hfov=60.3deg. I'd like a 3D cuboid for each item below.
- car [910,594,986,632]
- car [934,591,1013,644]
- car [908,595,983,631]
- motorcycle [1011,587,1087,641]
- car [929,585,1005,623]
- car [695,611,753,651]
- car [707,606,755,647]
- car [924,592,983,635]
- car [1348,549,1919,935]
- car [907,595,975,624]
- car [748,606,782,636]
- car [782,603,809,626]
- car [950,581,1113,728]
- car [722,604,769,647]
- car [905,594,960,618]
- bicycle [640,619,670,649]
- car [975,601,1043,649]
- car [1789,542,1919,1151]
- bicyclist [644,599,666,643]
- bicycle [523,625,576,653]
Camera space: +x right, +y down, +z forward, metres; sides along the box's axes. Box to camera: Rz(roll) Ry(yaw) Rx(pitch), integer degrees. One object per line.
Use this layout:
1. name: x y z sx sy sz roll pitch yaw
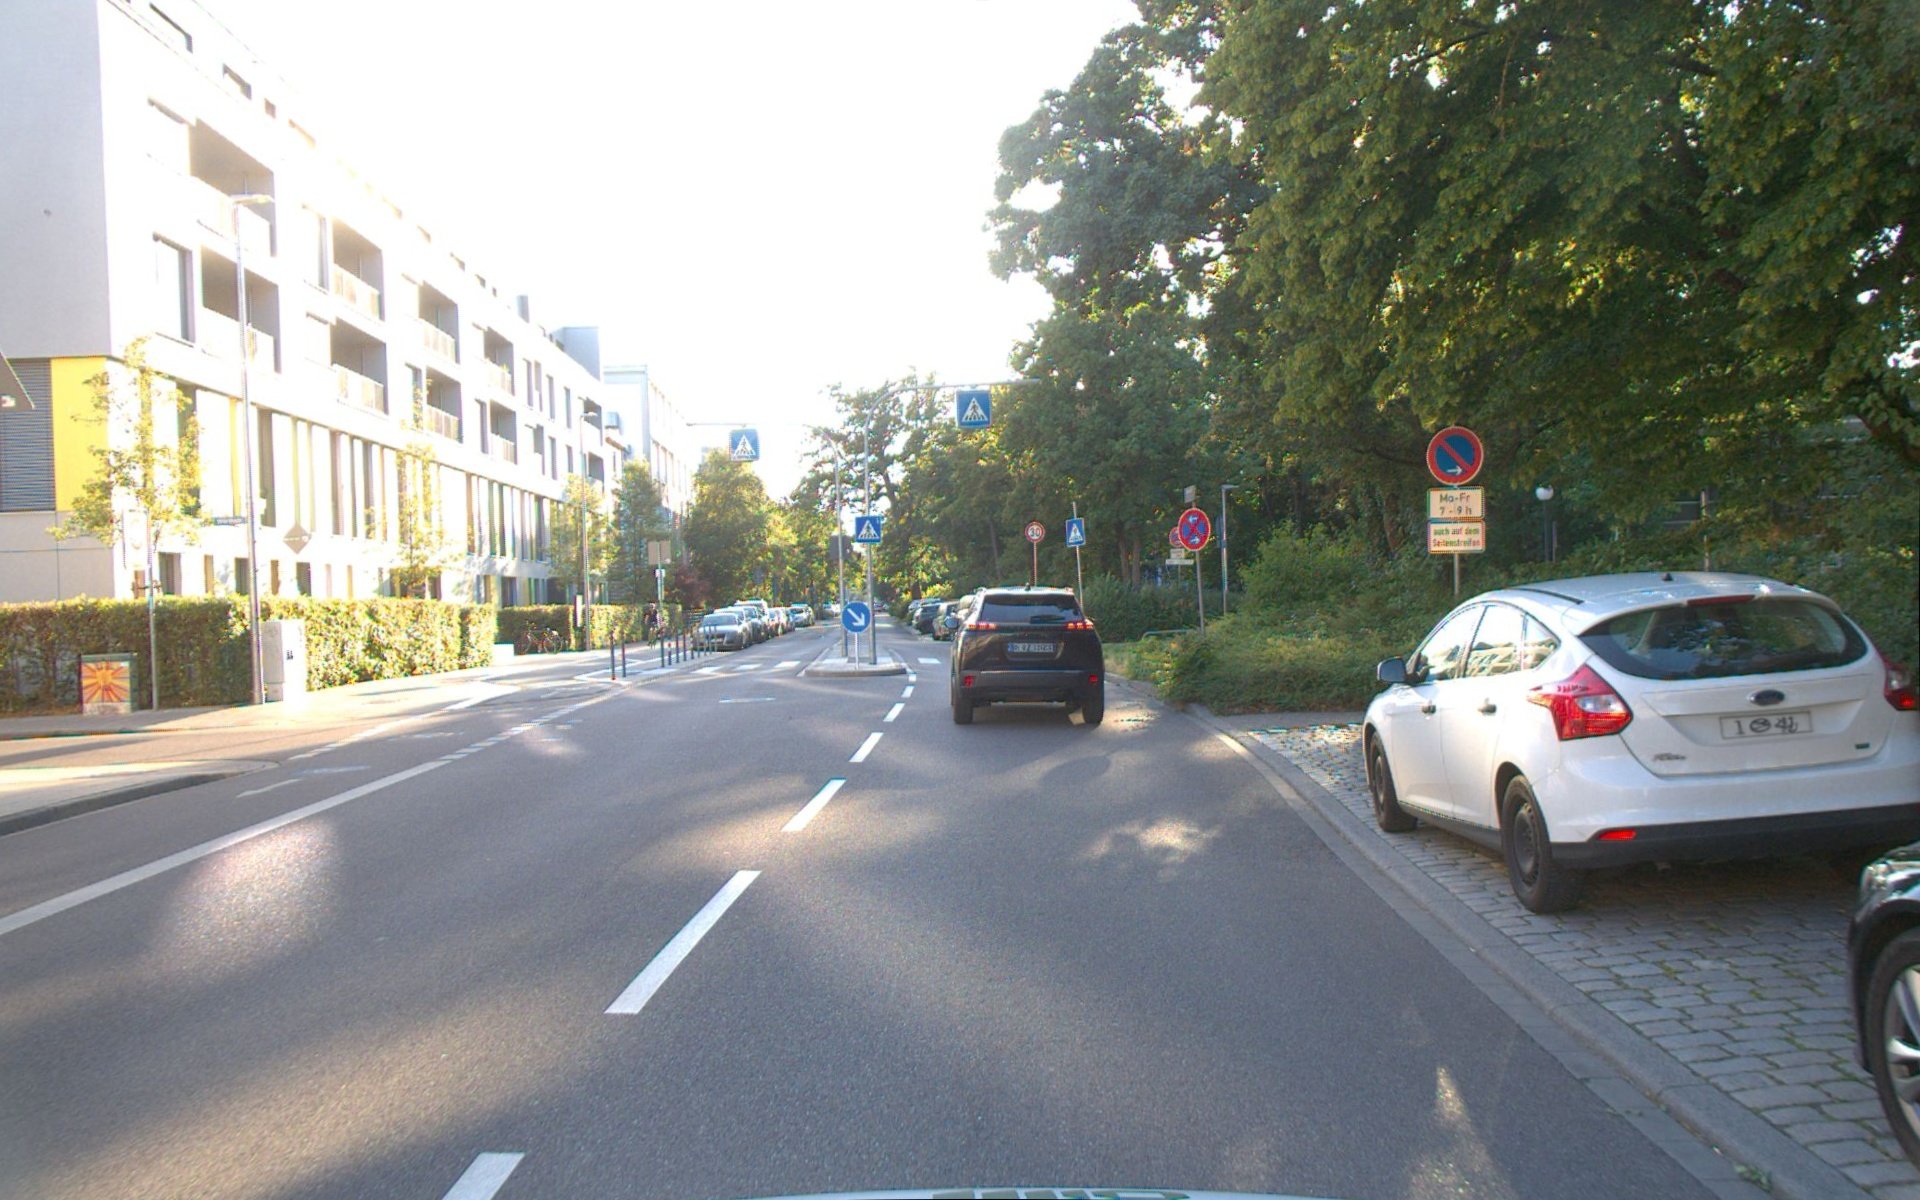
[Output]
1. car: -0.633 0.635 82.231 3.541 1.551 1.670 -6 1 -5
2. car: 0.442 0.633 60.224 1.888 1.779 4.652 -3 0 -12
3. car: -0.772 0.658 84.605 3.596 1.469 1.733 -6 1 -5
4. motorcycle: 2.799 0.420 51.757 2.243 1.572 1.040 -3 0 8
5. car: 0.316 0.196 75.873 3.320 1.552 1.669 -2 -1 -5
6. car: -8.925 1.146 62.824 1.707 1.380 4.393 -3 0 -3
7. car: -9.378 1.070 67.910 1.708 1.560 4.111 -3 0 -5
8. car: -0.298 0.522 65.940 1.620 1.595 4.291 -3 0 -9
9. car: 3.431 0.561 8.811 1.712 1.512 4.176 -2 0 0
10. car: -1.251 0.615 108.125 4.252 1.500 1.741 -5 1 -3
11. car: -10.431 1.121 88.508 1.567 1.480 3.858 -3 0 -4
12. car: -12.051 1.048 121.488 1.637 1.519 4.059 -3 1 -3
13. car: 0.783 0.593 20.004 1.732 1.596 3.379 -1 0 -1
14. car: -9.513 1.093 73.631 1.708 1.705 4.413 -3 1 -4
15. car: -2.092 0.443 126.143 4.084 1.740 1.867 -2 0 1
16. bicycle: -11.906 1.317 64.618 0.620 1.097 1.884 -2 0 4
17. car: 1.614 0.829 56.027 1.590 1.512 3.410 -3 0 -10
18. car: 3.240 0.587 2.402 1.712 1.512 4.508 -2 0 -1
19. bicyclist: -11.920 0.819 64.653 0.613 1.673 0.758 -2 0 4
20. bicycle: -14.578 1.375 58.792 1.717 0.934 0.617 -1 0 -5
